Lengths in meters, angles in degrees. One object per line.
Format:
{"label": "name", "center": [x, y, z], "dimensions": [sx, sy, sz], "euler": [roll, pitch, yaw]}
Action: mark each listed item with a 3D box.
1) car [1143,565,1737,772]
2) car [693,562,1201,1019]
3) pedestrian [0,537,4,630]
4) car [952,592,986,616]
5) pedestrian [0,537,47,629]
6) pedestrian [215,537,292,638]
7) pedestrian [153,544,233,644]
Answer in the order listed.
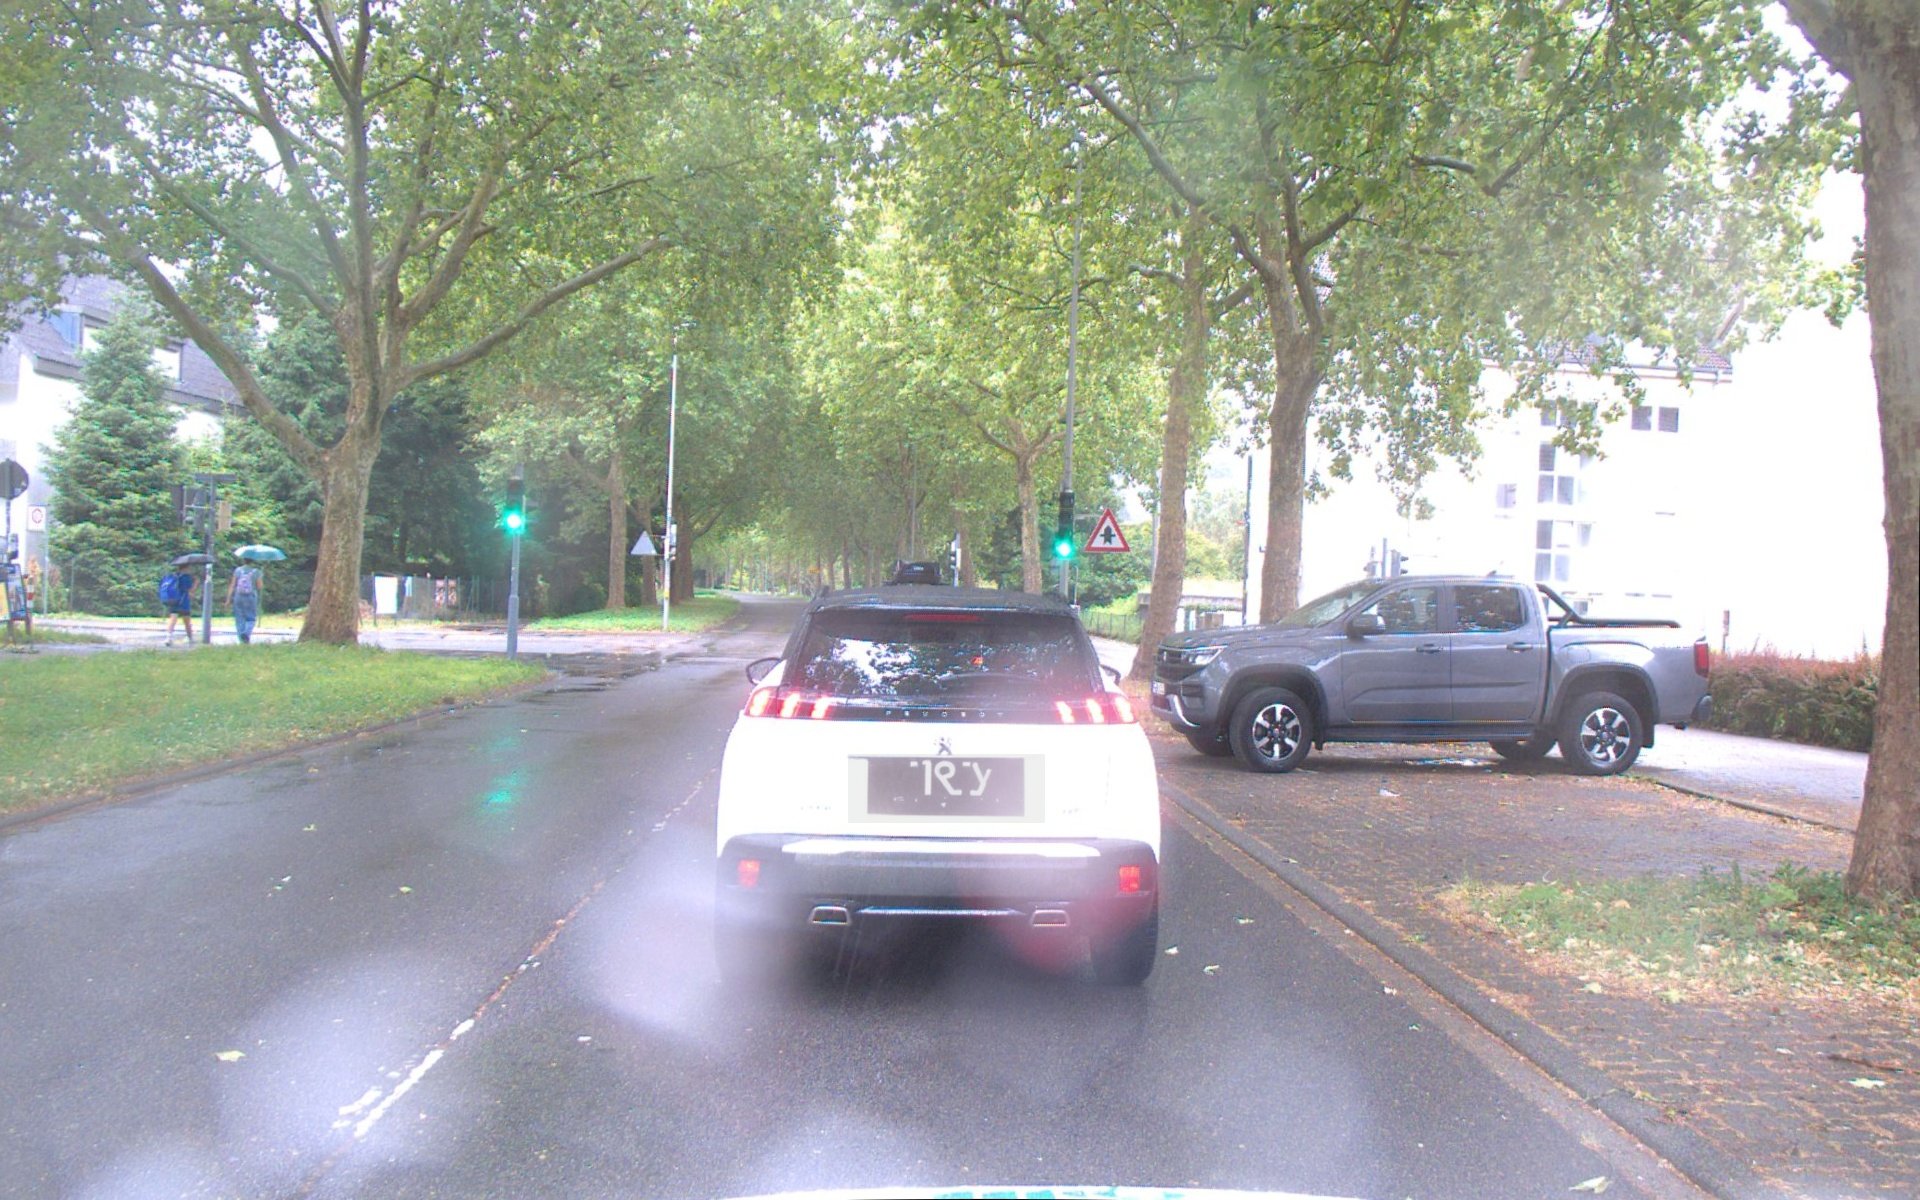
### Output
{"label": "car", "center": [4.550, 0.645, 16.011], "dimensions": [5.238, 1.838, 1.842], "euler": [1, 0, -8]}
{"label": "car", "center": [-0.085, 0.654, 7.818], "dimensions": [1.744, 1.563, 4.056], "euler": [1, 0, -1]}
{"label": "pedestrian", "center": [-18.793, -0.326, 31.440], "dimensions": [0.804, 1.775, 0.639], "euler": [2, 0, -4]}
{"label": "car", "center": [0.593, 0.263, 111.678], "dimensions": [1.868, 1.536, 3.927], "euler": [2, 0, -5]}
{"label": "pedestrian", "center": [-18.585, -0.335, 32.550], "dimensions": [0.842, 1.775, 0.639], "euler": [2, 0, -4]}
{"label": "pedestrian", "center": [-12.906, -0.221, 30.255], "dimensions": [1.012, 1.796, 0.838], "euler": [1, 0, -1]}
{"label": "pedestrian", "center": [-14.062, -0.110, 30.343], "dimensions": [1.012, 1.796, 0.879], "euler": [1, 0, -1]}
